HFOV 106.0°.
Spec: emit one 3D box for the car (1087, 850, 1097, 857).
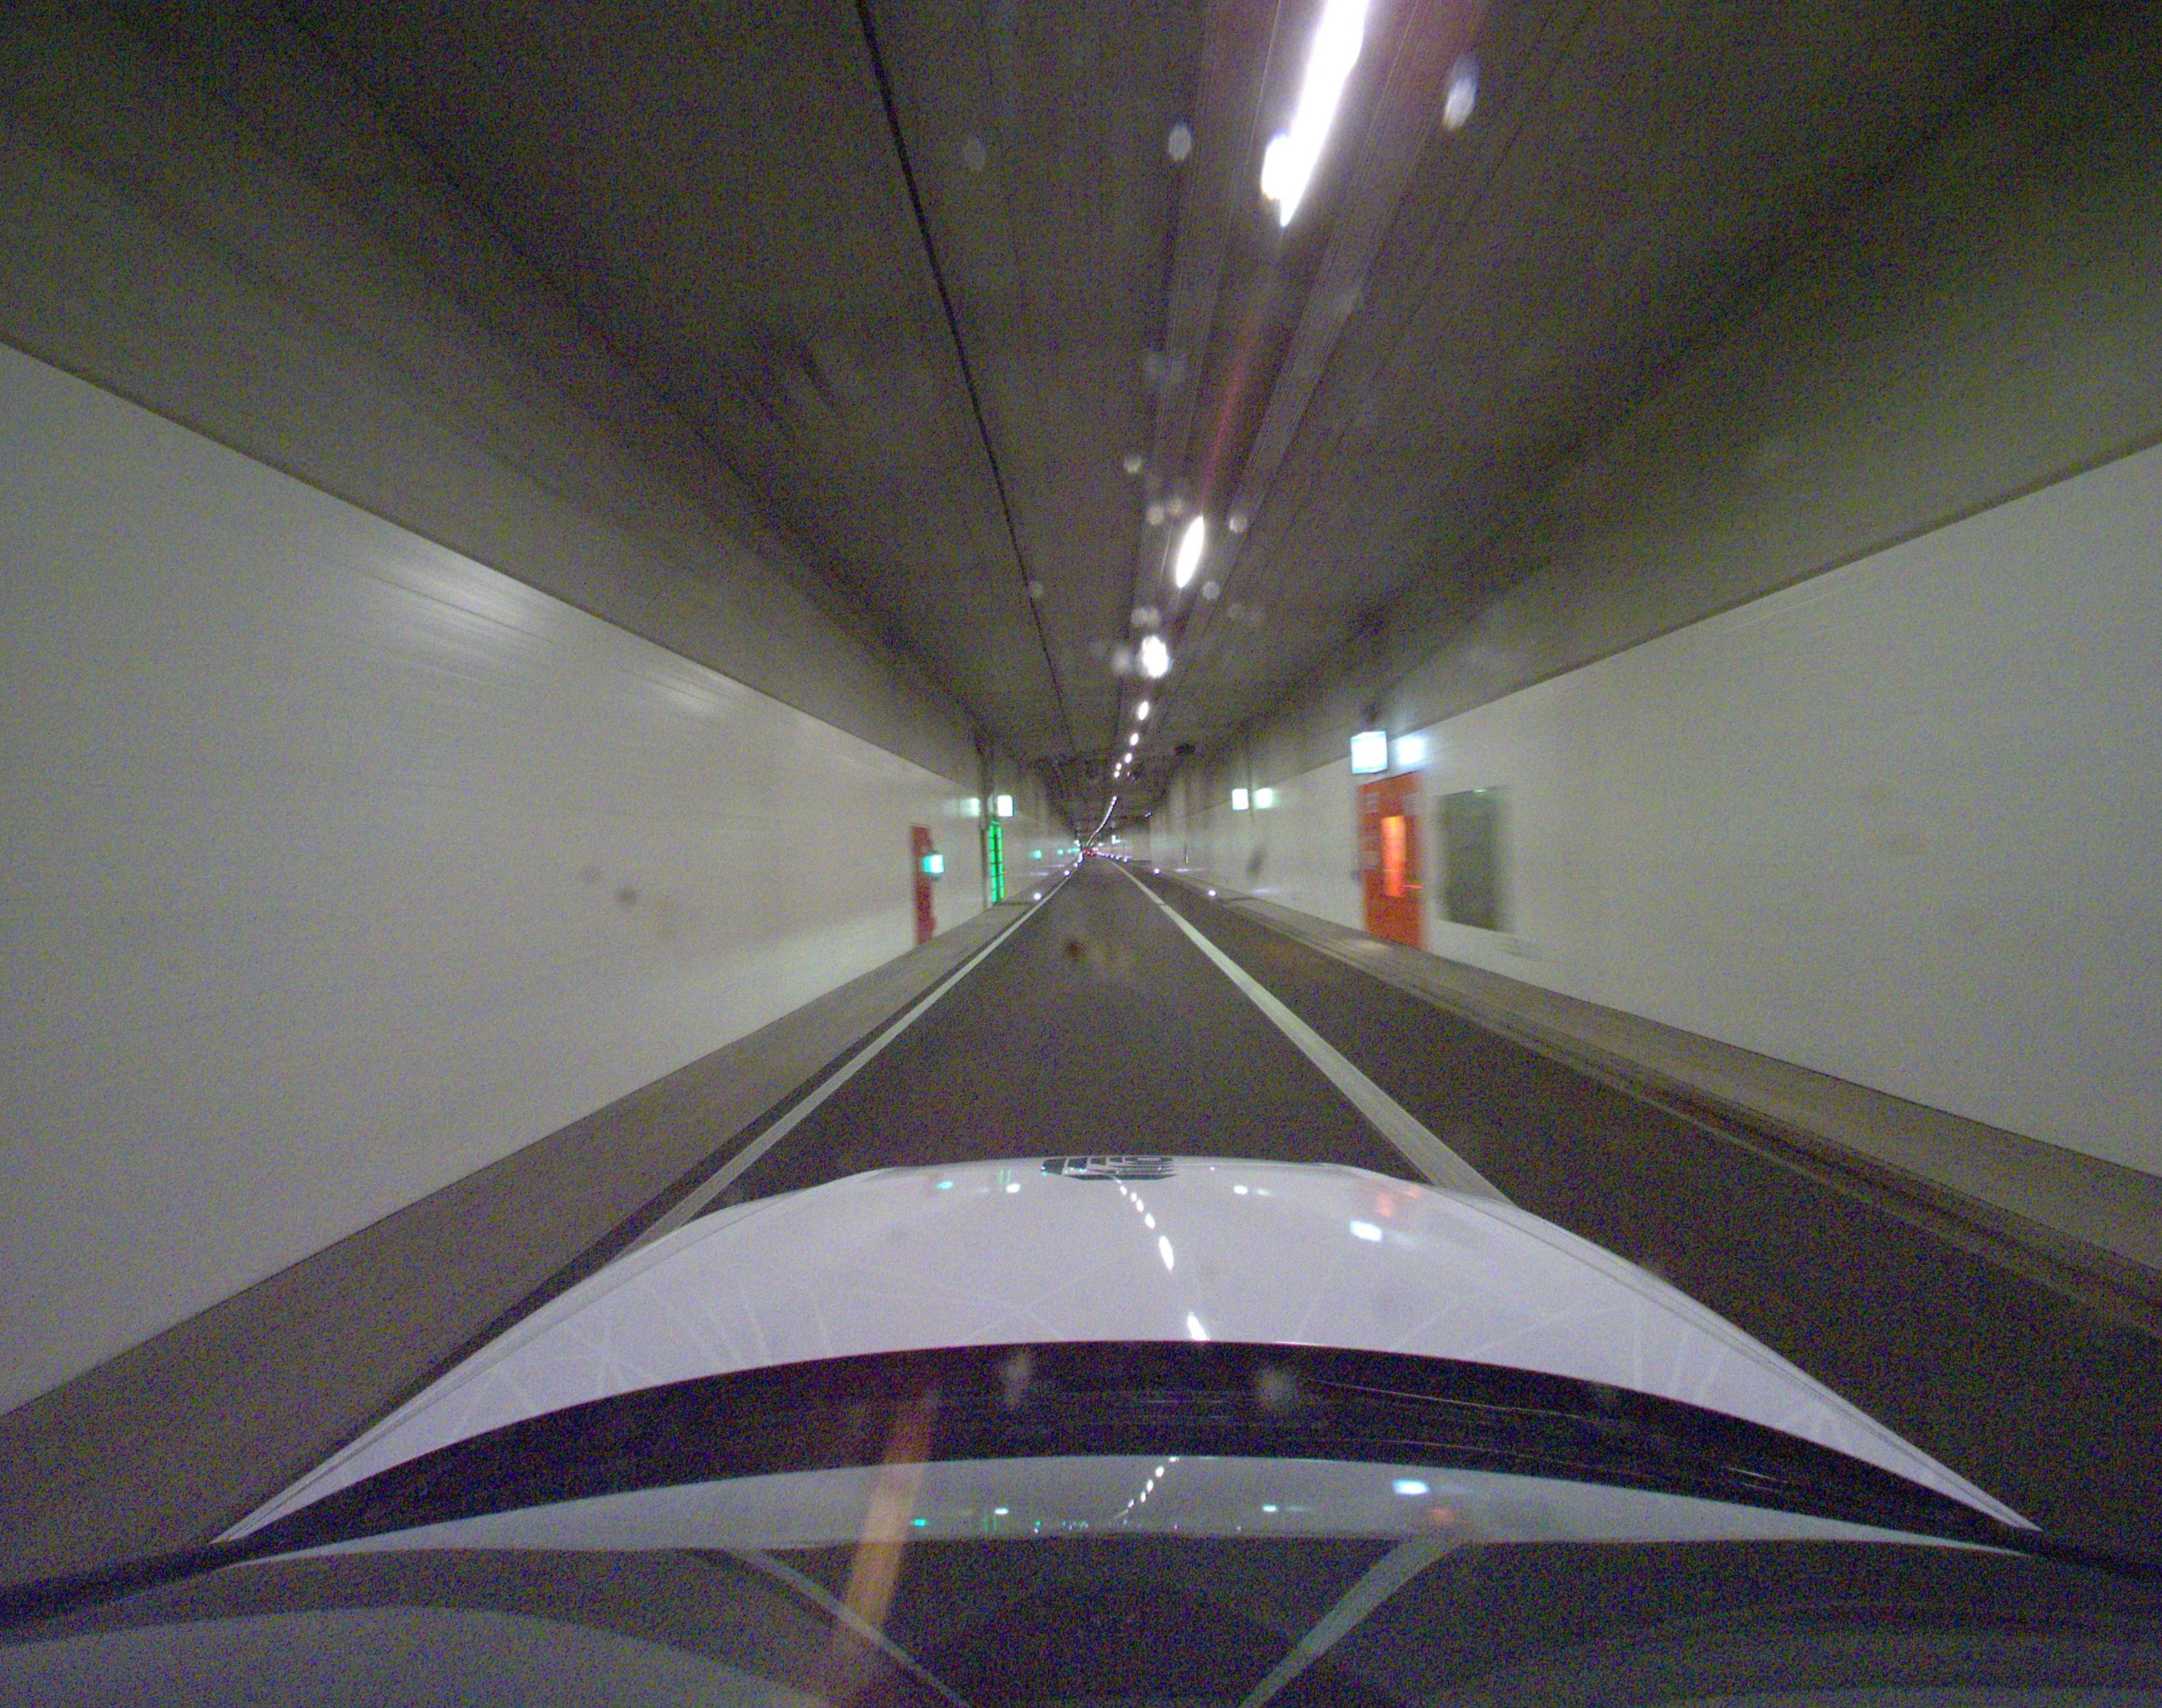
[{"bbox_3d":[2.129,-0.122,160.806,1.987,1.420,3.999,-1,0,0],"label":"car"}]
